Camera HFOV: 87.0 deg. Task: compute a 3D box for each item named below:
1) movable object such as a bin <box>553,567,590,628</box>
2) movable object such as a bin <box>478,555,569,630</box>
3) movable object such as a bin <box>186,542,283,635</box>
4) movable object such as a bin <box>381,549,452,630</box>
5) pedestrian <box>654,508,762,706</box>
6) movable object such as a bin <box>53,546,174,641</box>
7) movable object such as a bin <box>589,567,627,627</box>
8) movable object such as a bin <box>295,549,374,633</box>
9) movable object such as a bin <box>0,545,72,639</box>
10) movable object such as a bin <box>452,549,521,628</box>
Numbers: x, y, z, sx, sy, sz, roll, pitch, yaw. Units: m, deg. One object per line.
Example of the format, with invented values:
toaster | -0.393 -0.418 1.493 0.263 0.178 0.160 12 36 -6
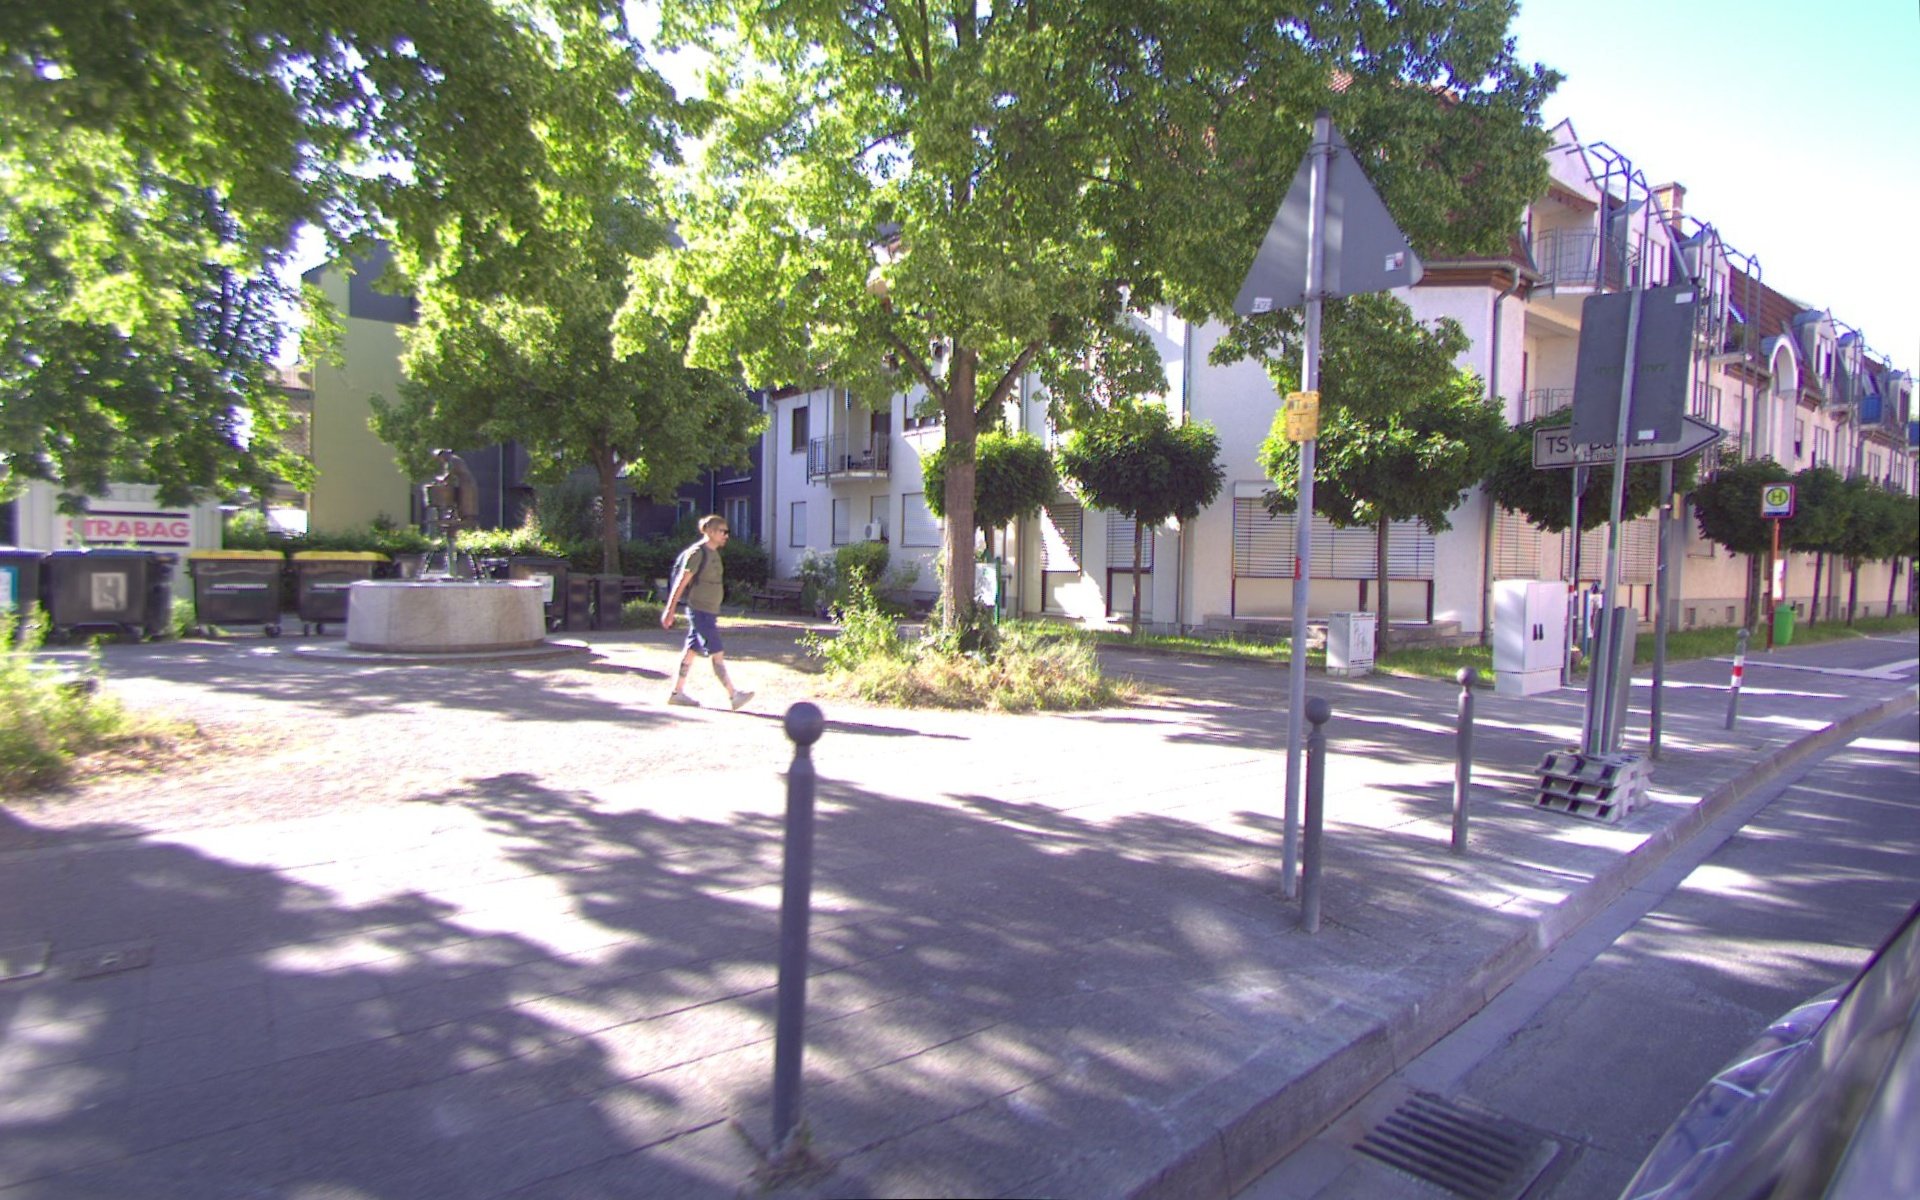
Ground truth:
movable object such as a bin | -7.185 -0.049 18.712 0.549 1.106 0.710 -1 0 -28
movable object such as a bin | -7.669 -0.129 17.777 1.024 1.271 1.117 -1 0 38
movable object such as a bin | -11.028 -0.174 15.429 1.083 1.357 0.973 -1 0 -29
movable object such as a bin | -8.905 -0.171 16.601 0.995 1.271 0.973 -1 0 -29
pedestrian | -2.291 0.052 9.258 0.812 1.738 0.660 1 2 2
movable object such as a bin | -11.884 -0.098 14.252 1.124 1.274 0.973 -1 0 -29
movable object such as a bin | -6.630 -0.059 19.055 0.549 1.106 0.710 -1 0 -28
movable object such as a bin | -9.890 -0.143 16.050 0.995 1.271 0.973 -1 0 -29
movable object such as a bin | -13.248 -0.127 14.119 1.083 1.271 0.973 -1 2 -29
movable object such as a bin | -8.016 -0.196 17.108 0.995 1.271 0.973 -1 0 -29
